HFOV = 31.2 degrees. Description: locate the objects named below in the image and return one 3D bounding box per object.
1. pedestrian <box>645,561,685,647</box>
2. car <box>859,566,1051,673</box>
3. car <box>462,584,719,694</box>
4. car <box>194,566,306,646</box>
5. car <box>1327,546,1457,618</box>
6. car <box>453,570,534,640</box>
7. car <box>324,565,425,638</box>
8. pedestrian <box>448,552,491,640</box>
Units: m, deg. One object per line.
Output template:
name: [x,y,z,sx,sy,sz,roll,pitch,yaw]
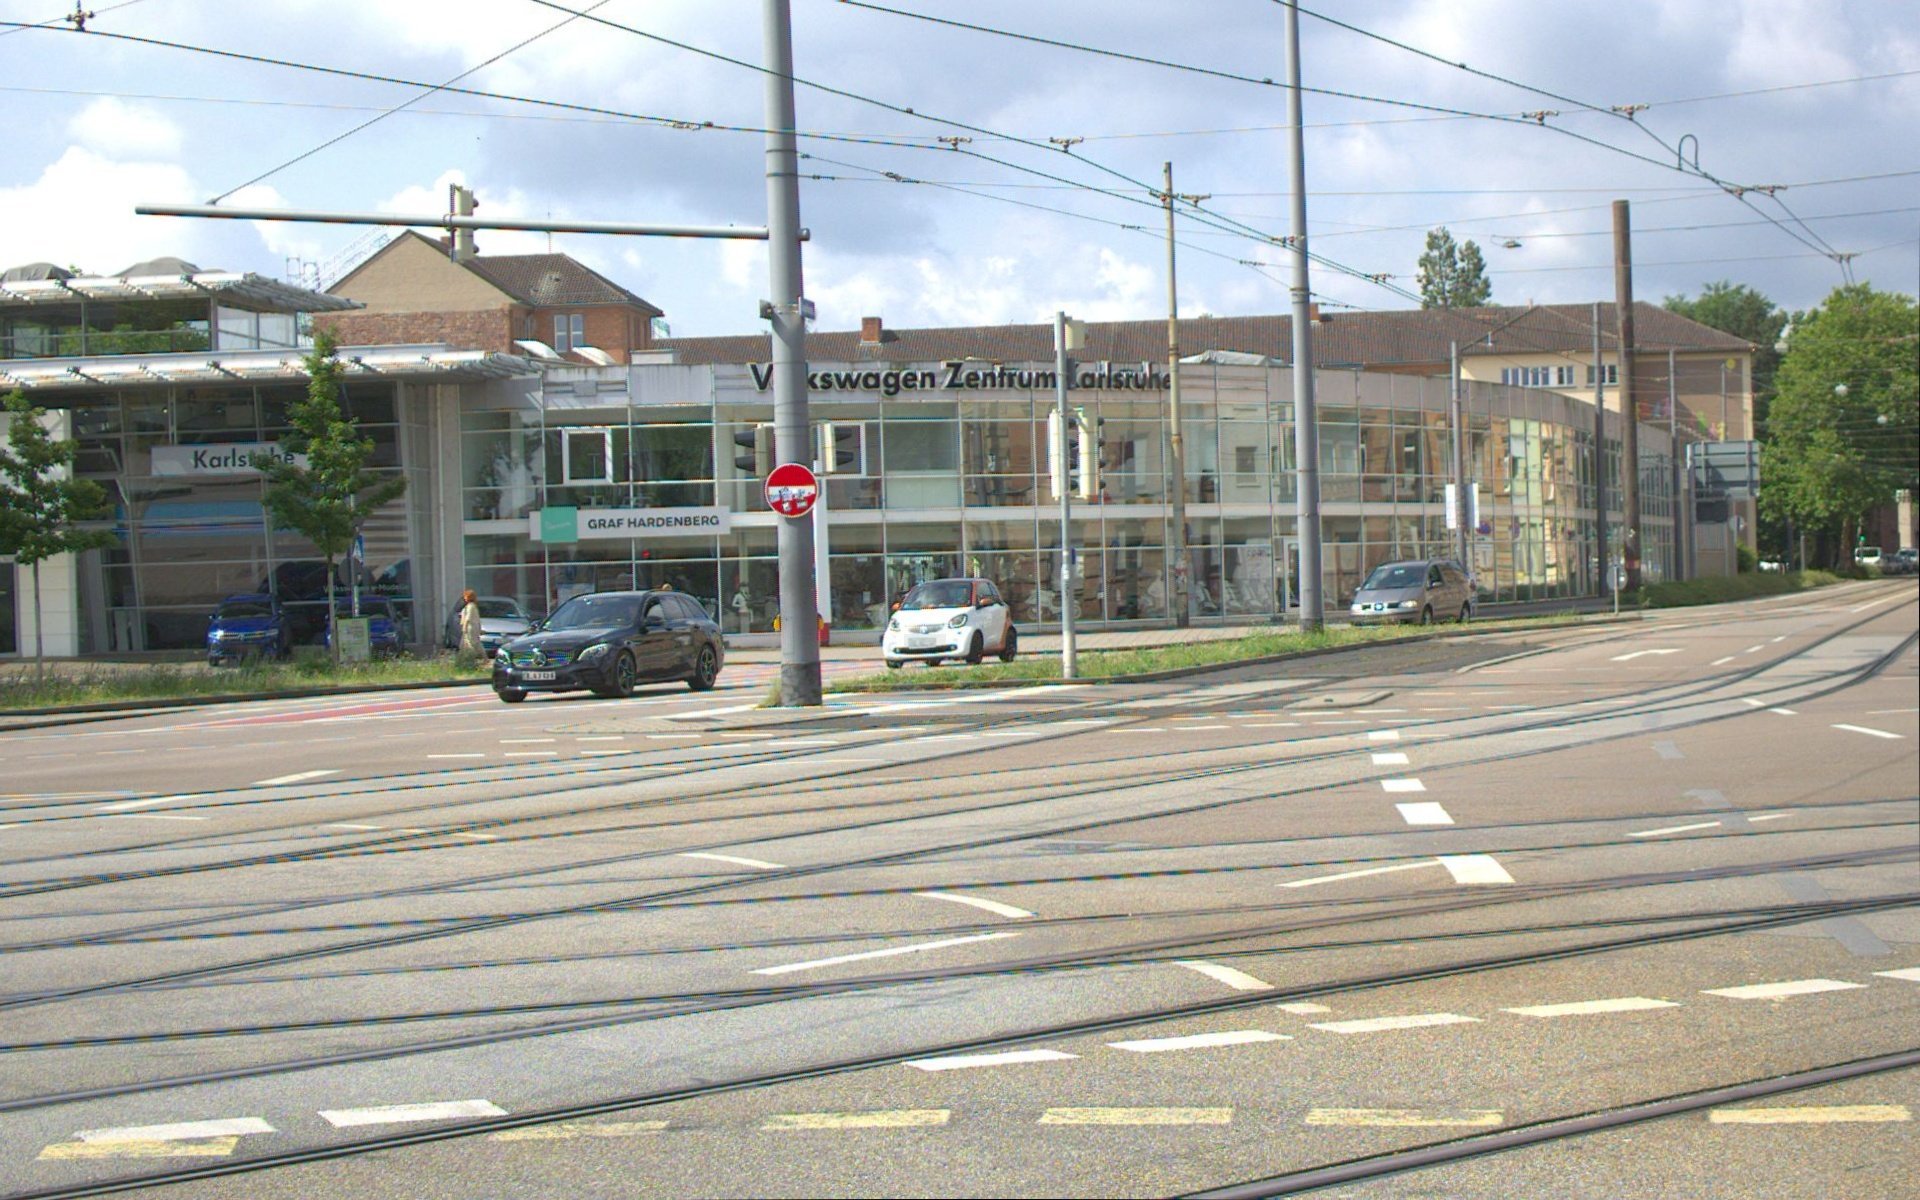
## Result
pedestrian: [-7.051,0.093,82.152,0.869,2.007,0.704,-1,0,-6]
car: [-0.047,0.347,60.920,1.996,1.831,3.995,0,0,23]
car: [-5.000,0.514,47.049,1.866,1.371,3.936,-1,0,21]
car: [-17.293,0.150,83.881,1.993,1.831,4.000,-2,0,-2]
car: [9.933,-0.426,78.888,1.996,1.568,3.732,-1,0,23]
car: [-11.503,0.140,84.994,1.928,1.678,4.001,0,0,-7]
car: [-14.135,0.049,83.220,1.993,1.720,4.000,0,0,-4]
pedestrian: [-11.314,-0.090,79.256,0.807,2.007,0.808,-2,0,1]
